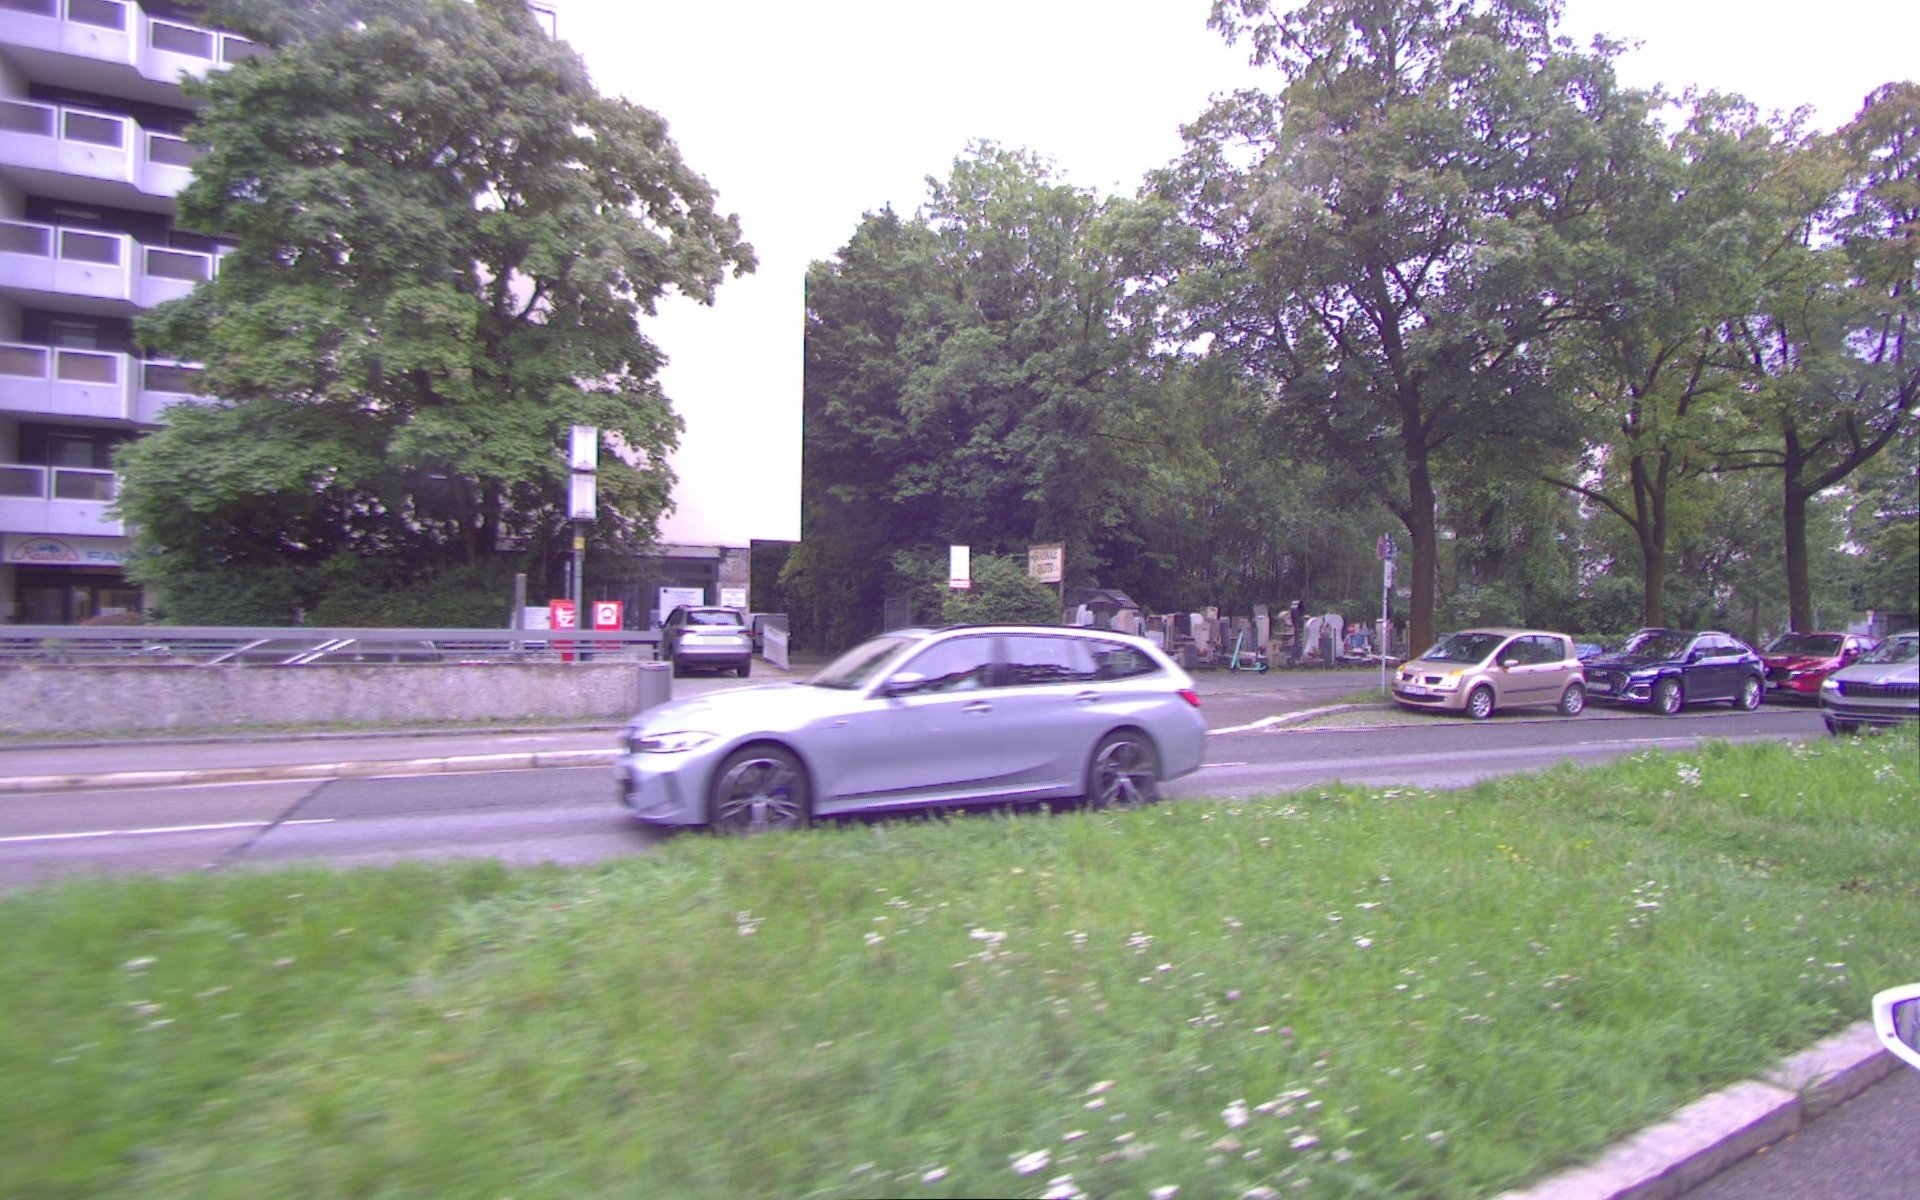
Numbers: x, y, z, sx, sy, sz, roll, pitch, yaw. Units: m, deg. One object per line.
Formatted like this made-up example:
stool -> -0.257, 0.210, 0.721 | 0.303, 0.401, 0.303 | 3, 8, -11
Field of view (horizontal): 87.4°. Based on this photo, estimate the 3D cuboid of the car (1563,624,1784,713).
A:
car -> 15.007, 1.382, 21.103 | 4.621, 1.665, 1.734 | 1, 0, -25

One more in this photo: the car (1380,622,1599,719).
car -> 9.916, 1.261, 18.820 | 3.765, 1.636, 1.643 | 1, 0, -24

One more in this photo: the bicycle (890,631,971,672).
bicycle -> -0.742, 1.303, 25.601 | 2.004, 1.020, 0.577 | 1, -2, -25

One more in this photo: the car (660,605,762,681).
car -> -5.931, 0.983, 23.606 | 1.724, 1.610, 3.978 | 1, -2, -23

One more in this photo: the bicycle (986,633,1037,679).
bicycle -> 1.174, 1.274, 23.337 | 0.430, 1.020, 1.757 | 1, -2, -25

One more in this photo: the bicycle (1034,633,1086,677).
bicycle -> 2.397, 1.309, 24.213 | 0.430, 1.020, 1.757 | 1, -2, -25

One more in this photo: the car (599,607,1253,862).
car -> -0.194, 0.868, 7.895 | 4.801, 1.504, 1.909 | 1, -2, -27

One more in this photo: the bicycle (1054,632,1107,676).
bicycle -> 2.922, 1.302, 24.473 | 0.430, 1.020, 1.757 | 1, -2, -25

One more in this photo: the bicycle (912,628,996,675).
bicycle -> -0.137, 1.247, 24.636 | 2.004, 1.113, 0.577 | 1, -1, -25

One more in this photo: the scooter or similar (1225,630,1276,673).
scooter or similar -> 7.734, 1.371, 26.728 | 1.267, 1.141, 0.435 | 1, -1, -13

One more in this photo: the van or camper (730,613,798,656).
van or camper -> -8.823, 1.548, 44.983 | 1.891, 1.814, 4.063 | 1, -2, -28

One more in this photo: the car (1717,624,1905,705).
car -> 19.964, 1.455, 23.543 | 4.547, 1.674, 1.732 | 1, 1, -27

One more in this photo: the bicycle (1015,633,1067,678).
bicycle -> 1.899, 1.294, 23.811 | 0.430, 1.020, 1.757 | 1, -2, -25

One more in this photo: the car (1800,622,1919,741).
car -> 15.051, 1.189, 15.339 | 4.317, 1.646, 1.761 | 1, -2, -25
